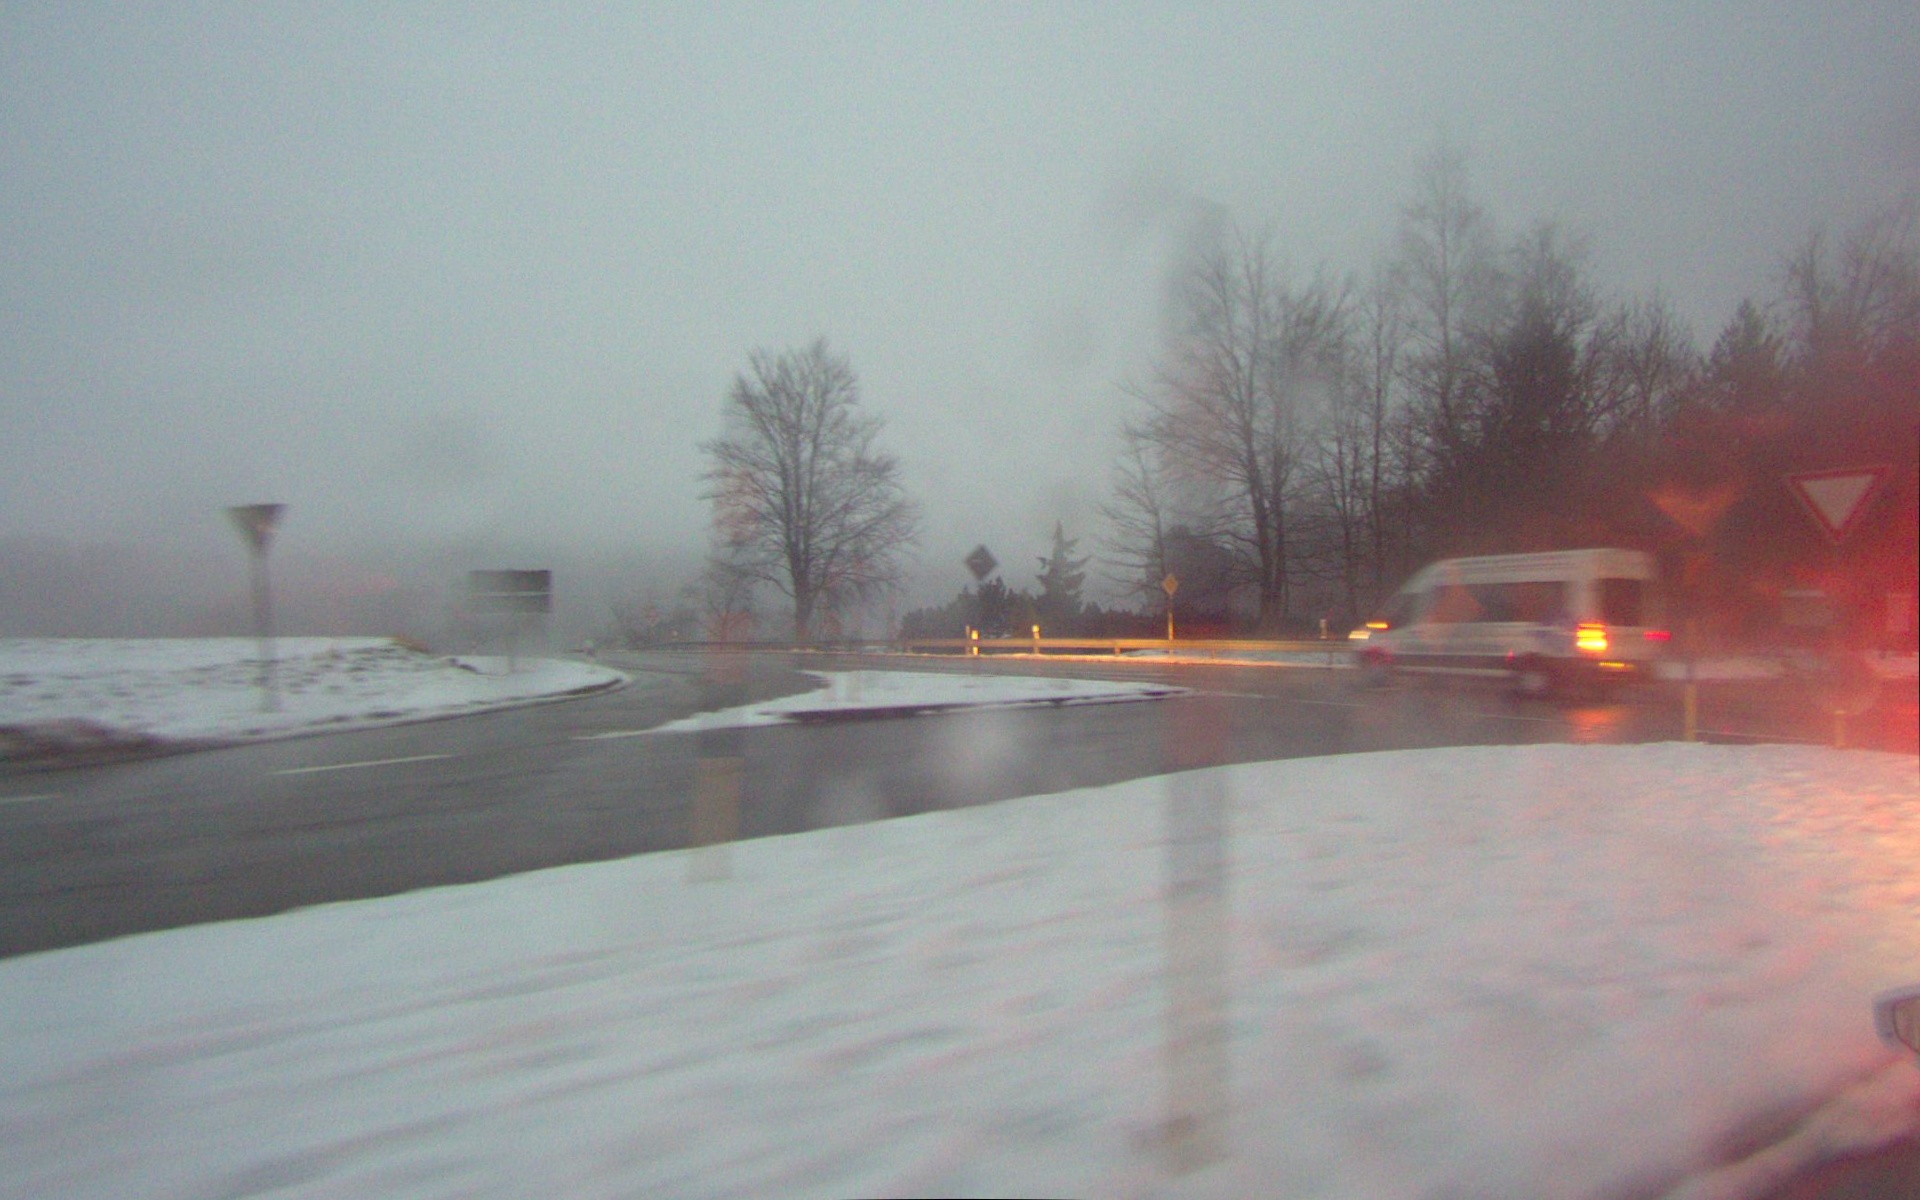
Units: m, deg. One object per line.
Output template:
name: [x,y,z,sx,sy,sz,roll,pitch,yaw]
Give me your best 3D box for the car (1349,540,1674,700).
car: [10.663,0.353,20.041,2.123,2.731,5.497,2,0,-23]
